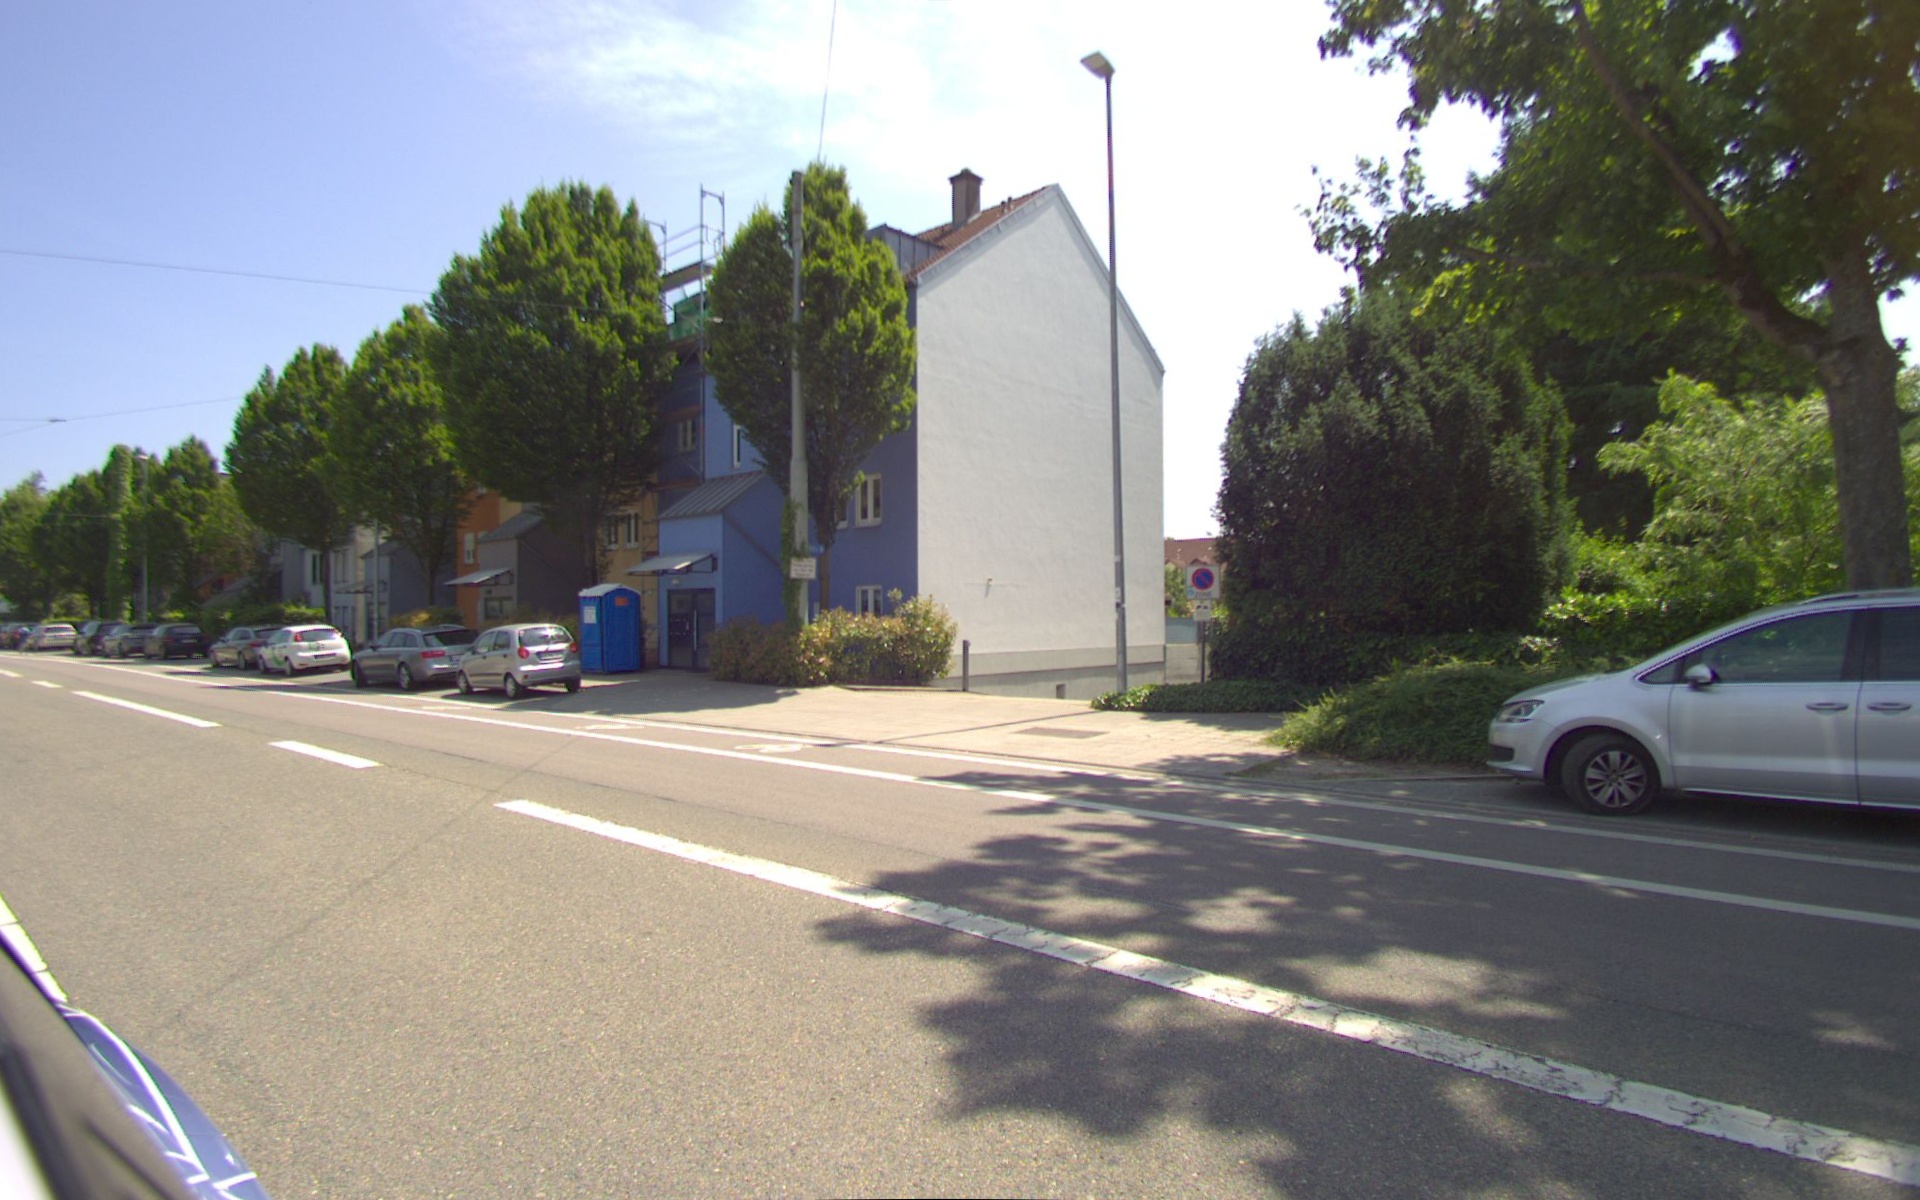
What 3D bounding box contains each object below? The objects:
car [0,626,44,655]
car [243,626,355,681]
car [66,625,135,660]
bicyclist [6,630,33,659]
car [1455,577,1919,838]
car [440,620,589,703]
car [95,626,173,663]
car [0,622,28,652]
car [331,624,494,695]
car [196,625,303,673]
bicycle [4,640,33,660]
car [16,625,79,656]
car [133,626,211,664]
[{"bbox_3d":[-56.001,2.405,60.079,3.673,1.606,1.586,-2,0,35],"label":"car"},{"bbox_3d":[-21.009,1.654,32.091,4.417,1.453,1.729,-2,3,41],"label":"car"},{"bbox_3d":[-42.253,2.075,49.709,4.142,1.601,1.750,-2,0,38],"label":"car"},{"bbox_3d":[-46.790,2.207,50.337,1.123,1.442,0.728,-1,-5,38],"label":"bicyclist"},{"bbox_3d":[6.486,0.701,7.449,4.778,1.677,1.853,-2,-1,41],"label":"car"},{"bbox_3d":[-9.698,1.281,21.941,3.447,1.506,1.577,-2,3,41],"label":"car"},{"bbox_3d":[-37.673,1.992,46.118,4.752,1.507,1.807,-2,0,39],"label":"car"},{"bbox_3d":[-60.161,2.330,63.224,4.548,1.807,1.976,-1,-1,35],"label":"car"},{"bbox_3d":[-13.792,1.450,25.364,5.129,1.461,1.769,-2,2,40],"label":"car"},{"bbox_3d":[-25.065,1.712,35.640,4.744,1.440,1.688,-2,3,38],"label":"car"},{"bbox_3d":[-46.868,2.489,50.382,2.240,0.958,0.695,-2,-4,39],"label":"bicycle"},{"bbox_3d":[-51.146,2.268,56.709,4.490,1.594,1.823,-2,0,38],"label":"car"},{"bbox_3d":[-33.452,1.887,42.928,4.254,1.443,1.732,-1,1,40],"label":"car"}]
